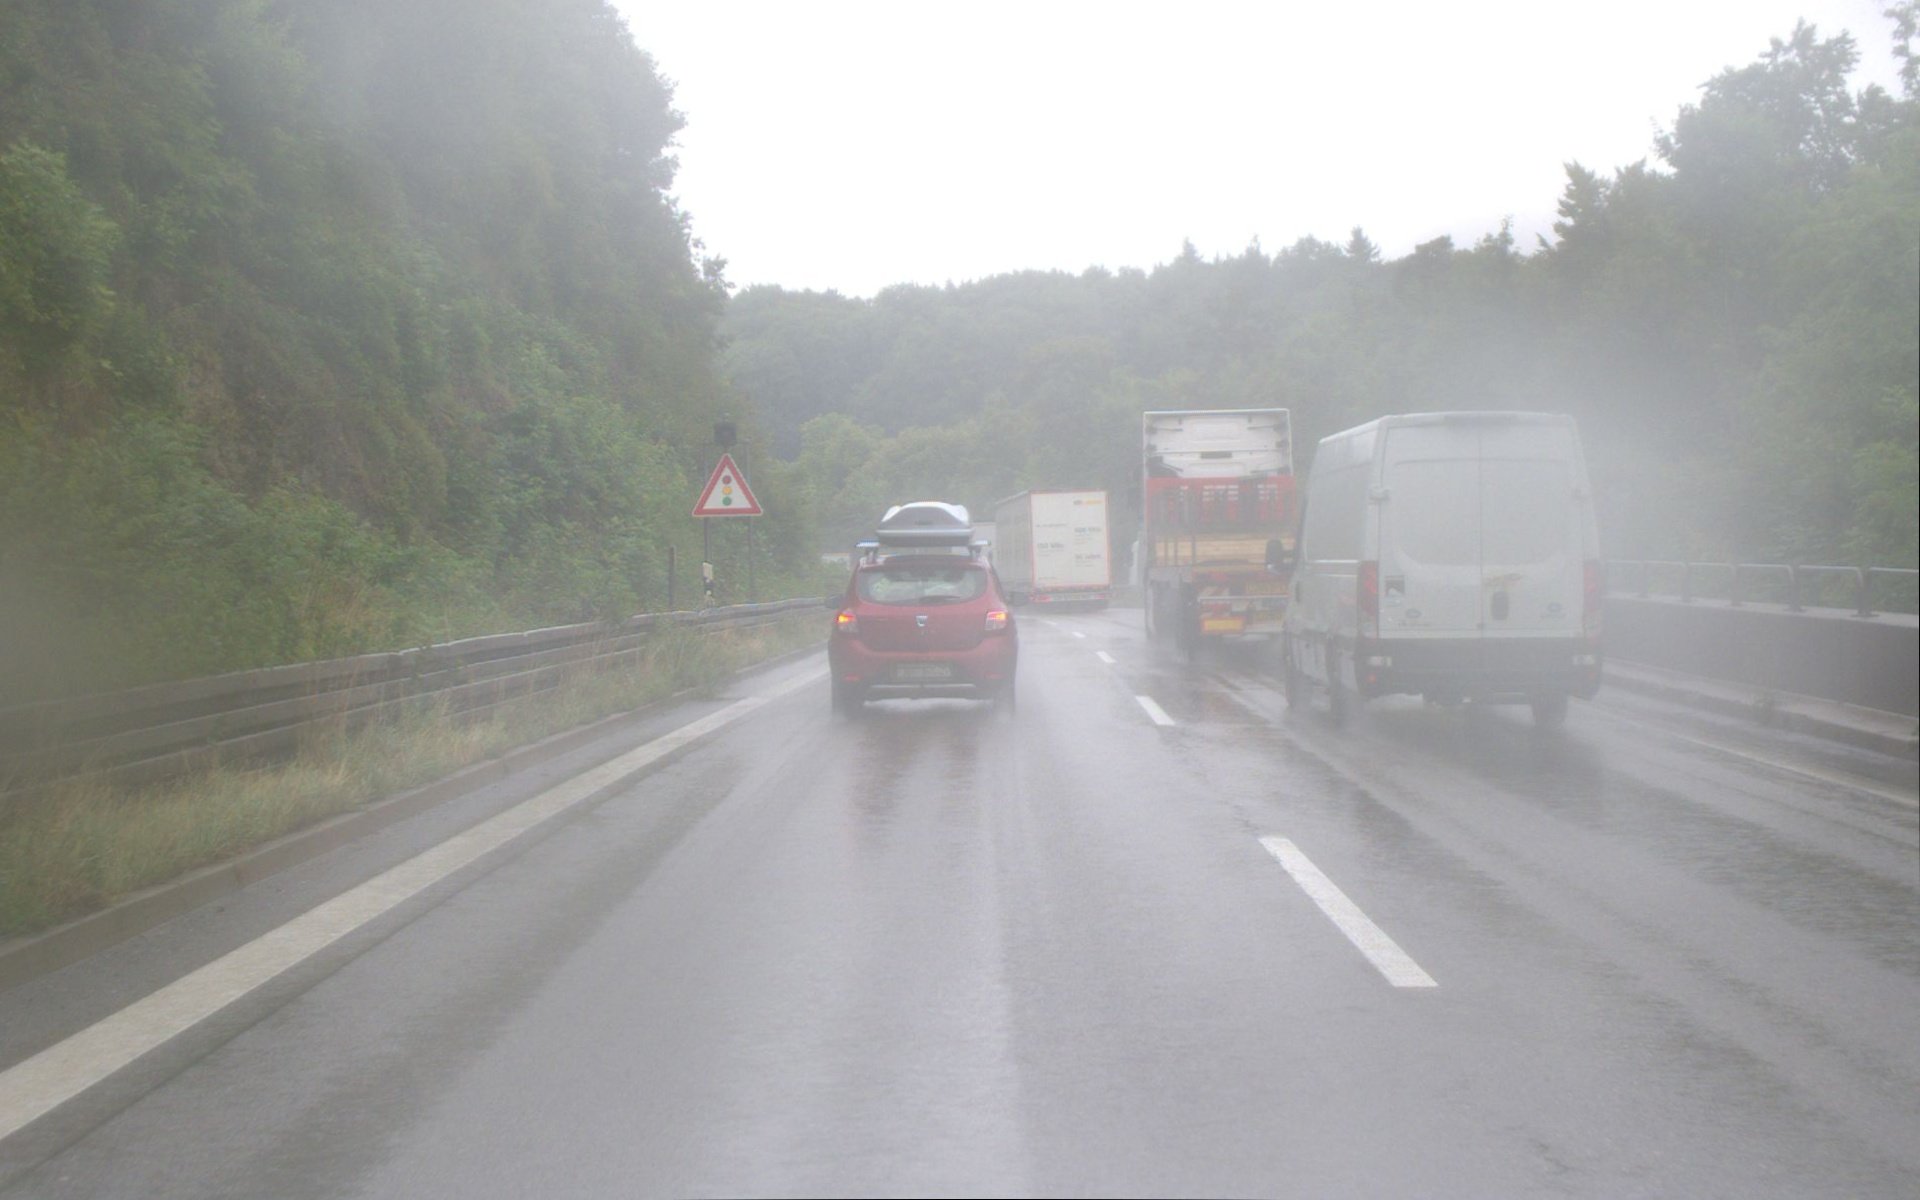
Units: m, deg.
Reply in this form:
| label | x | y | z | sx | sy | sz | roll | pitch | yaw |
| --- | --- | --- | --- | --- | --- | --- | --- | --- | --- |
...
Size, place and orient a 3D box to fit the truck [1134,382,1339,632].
| label | x | y | z | sx | sy | sz | roll | pitch | yaw |
| --- | --- | --- | --- | --- | --- | --- | --- | --- | --- |
| truck | 4.558 | -1.523 | 57.704 | 3.220 | 3.964 | 5.438 | 0 | 1 | 3 |

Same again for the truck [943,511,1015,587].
| label | x | y | z | sx | sy | sz | roll | pitch | yaw |
| --- | --- | --- | --- | --- | --- | --- | --- | --- | --- |
| truck | 0.792 | -2.267 | 153.343 | 3.062 | 3.300 | 8.071 | 0 | 1 | -1 |

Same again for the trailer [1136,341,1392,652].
| label | x | y | z | sx | sy | sz | roll | pitch | yaw |
| --- | --- | --- | --- | --- | --- | --- | --- | --- | --- |
| trailer | 4.255 | -1.423 | 51.019 | 3.218 | 3.985 | 13.523 | 0 | 1 | 3 |

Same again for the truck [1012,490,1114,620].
| label | x | y | z | sx | sy | sz | roll | pitch | yaw |
| --- | --- | --- | --- | --- | --- | --- | --- | --- | --- |
| truck | 3.394 | -1.515 | 115.566 | 2.687 | 4.080 | 9.316 | -3 | 1 | -2 |

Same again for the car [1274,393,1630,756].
| label | x | y | z | sx | sy | sz | roll | pitch | yaw |
| --- | --- | --- | --- | --- | --- | --- | --- | --- | --- |
| car | 4.163 | -0.247 | 30.445 | 2.206 | 2.784 | 7.382 | 1 | 1 | 1 |

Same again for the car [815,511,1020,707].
| label | x | y | z | sx | sy | sz | roll | pitch | yaw |
| --- | --- | --- | --- | --- | --- | --- | --- | --- | --- |
| car | -0.354 | 0.052 | 32.748 | 1.758 | 1.679 | 4.000 | -2 | 1 | 1 |
